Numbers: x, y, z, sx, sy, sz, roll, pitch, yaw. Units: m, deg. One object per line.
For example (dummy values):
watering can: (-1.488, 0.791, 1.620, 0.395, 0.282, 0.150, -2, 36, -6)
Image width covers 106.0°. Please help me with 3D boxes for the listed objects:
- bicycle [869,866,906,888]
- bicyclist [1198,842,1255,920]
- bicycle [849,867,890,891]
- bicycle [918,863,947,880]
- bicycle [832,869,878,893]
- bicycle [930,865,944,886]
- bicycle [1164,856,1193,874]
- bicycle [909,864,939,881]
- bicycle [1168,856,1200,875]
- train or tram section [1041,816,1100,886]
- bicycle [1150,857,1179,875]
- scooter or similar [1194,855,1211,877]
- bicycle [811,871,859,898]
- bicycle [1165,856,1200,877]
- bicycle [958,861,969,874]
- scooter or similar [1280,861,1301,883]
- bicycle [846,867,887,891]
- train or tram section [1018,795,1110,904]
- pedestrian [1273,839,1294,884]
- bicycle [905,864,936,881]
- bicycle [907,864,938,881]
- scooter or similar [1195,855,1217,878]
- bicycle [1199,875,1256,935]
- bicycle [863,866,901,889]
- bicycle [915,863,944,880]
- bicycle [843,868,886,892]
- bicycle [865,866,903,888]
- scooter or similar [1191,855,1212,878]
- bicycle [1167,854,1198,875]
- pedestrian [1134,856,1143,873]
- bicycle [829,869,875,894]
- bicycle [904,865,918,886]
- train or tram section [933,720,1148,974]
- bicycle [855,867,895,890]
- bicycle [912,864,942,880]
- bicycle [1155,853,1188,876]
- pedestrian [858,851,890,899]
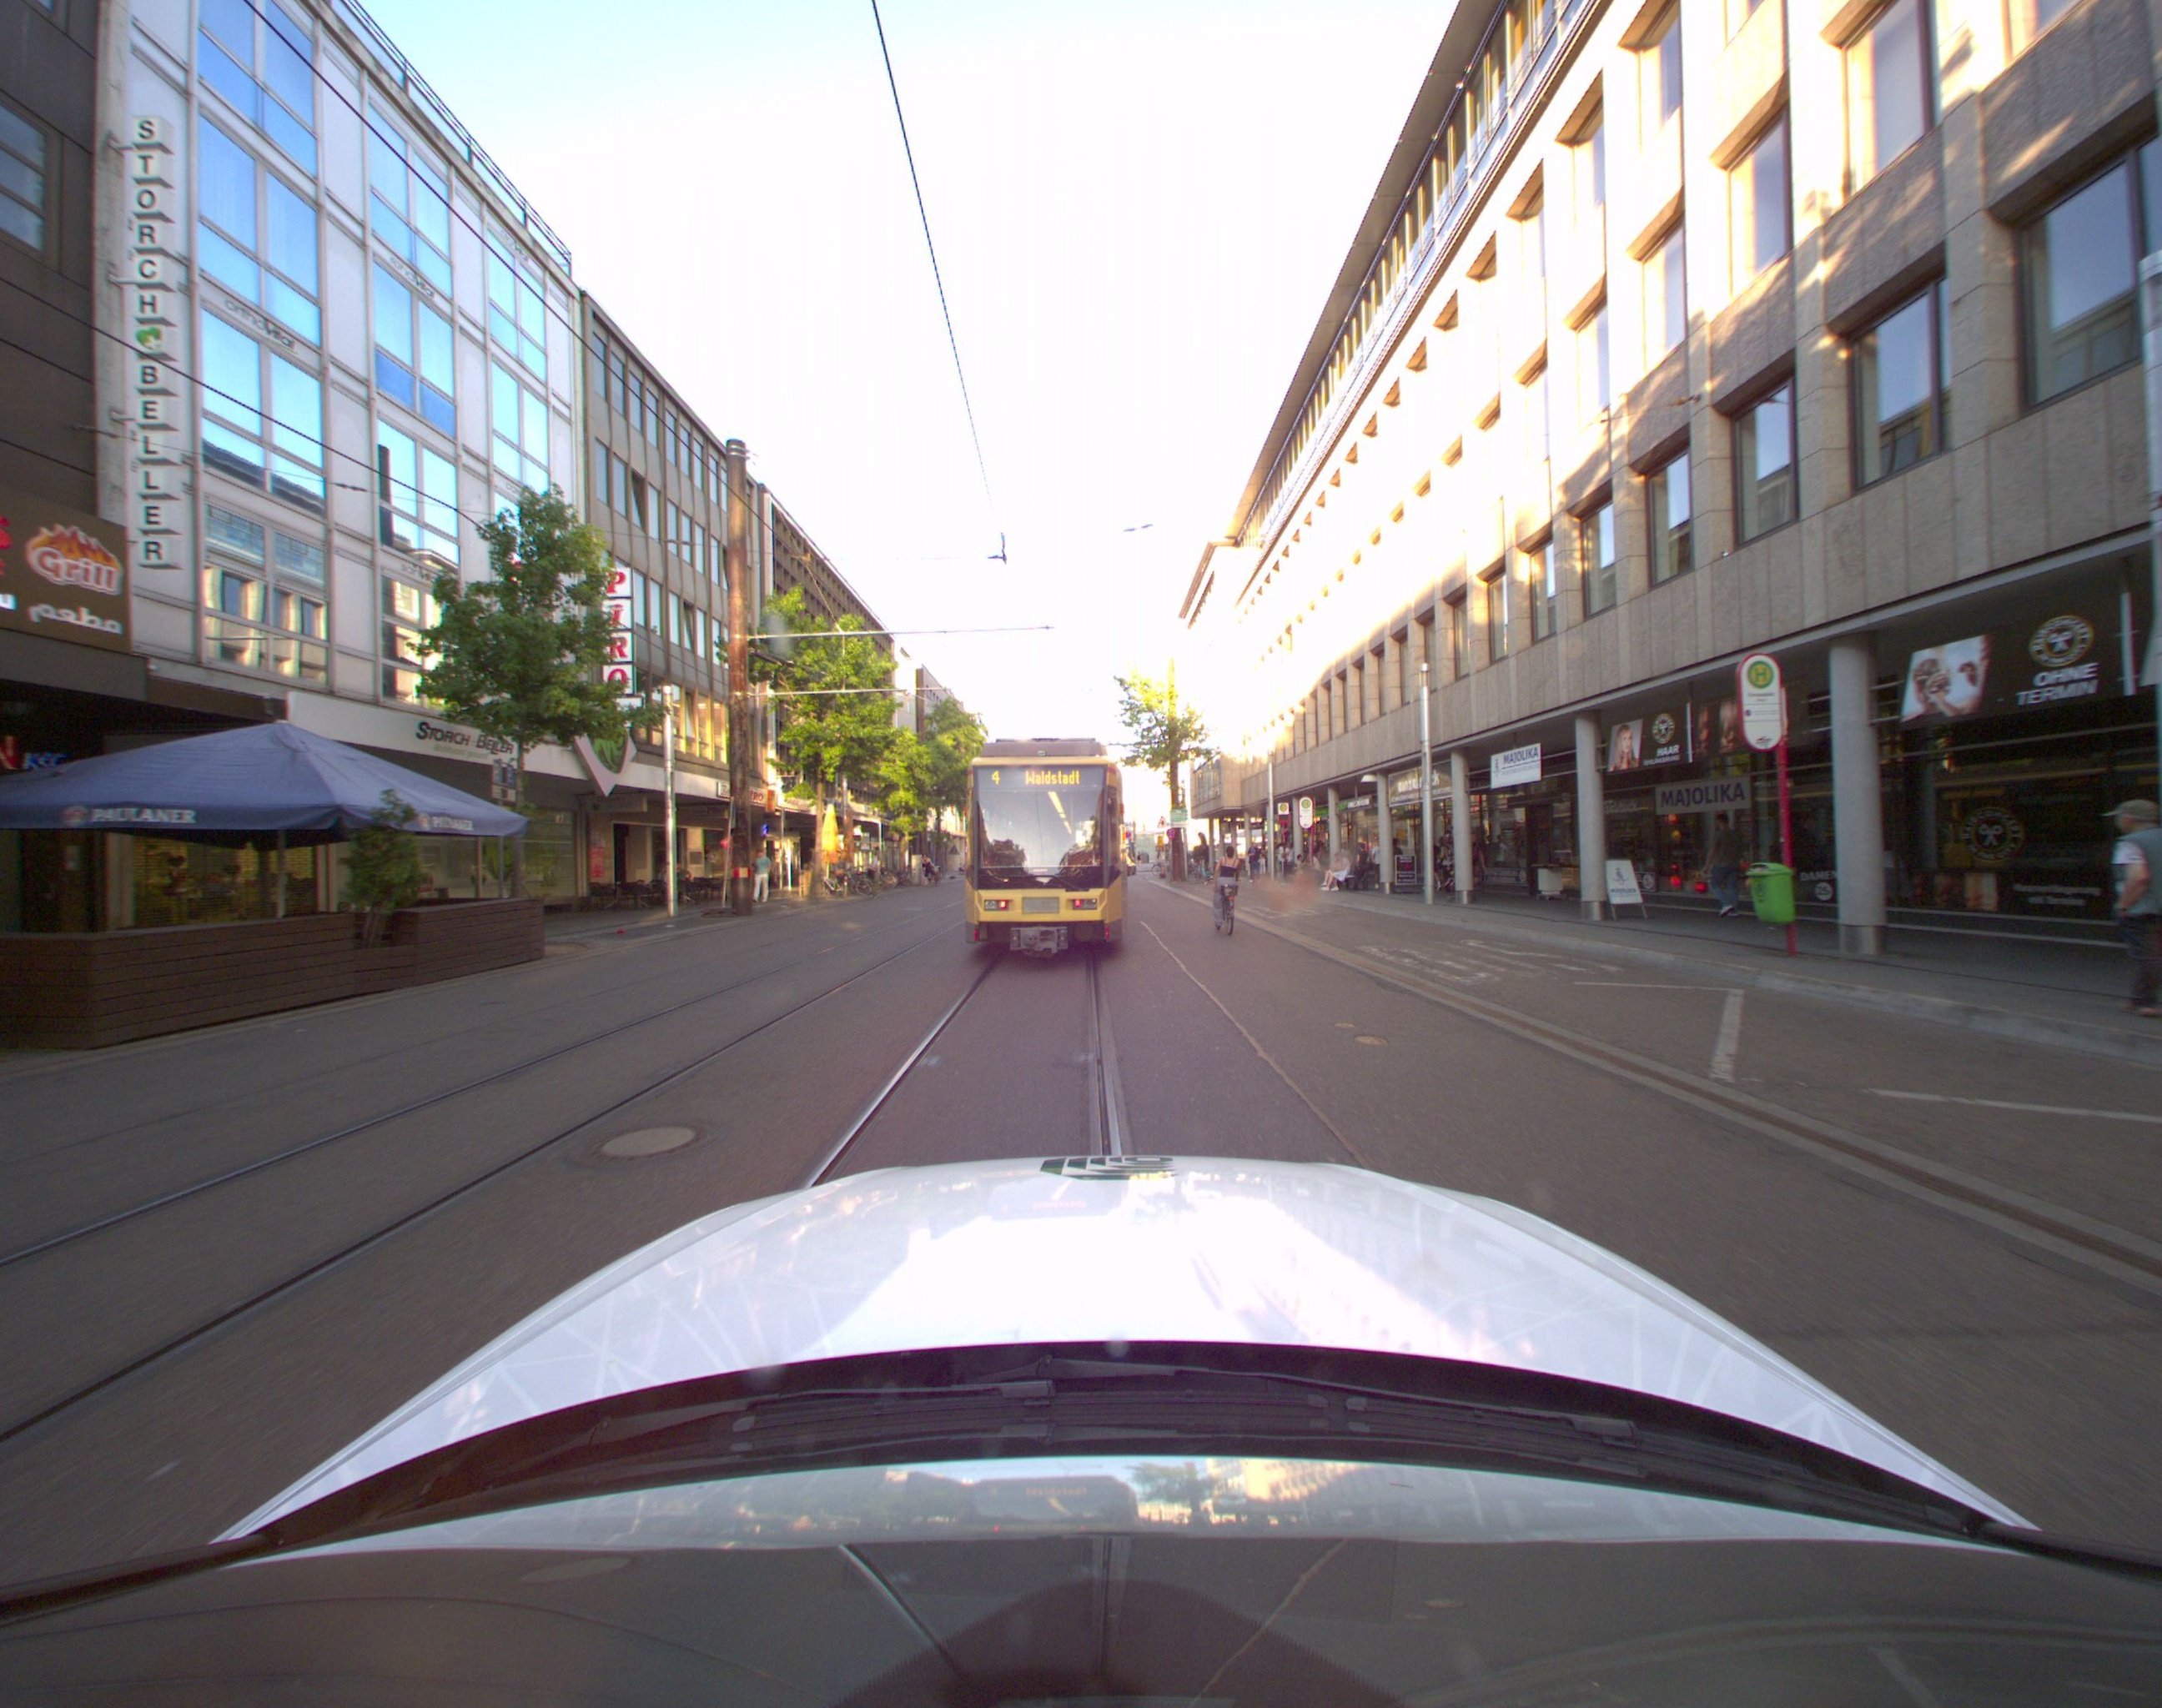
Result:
bicycle: (-9.836, 1.170, 41.397, 1.769, 1.071, 0.488, 1, 0, -6)
bicyclist: (2.894, 0.523, 16.227, 0.993, 1.502, 0.857, 0, 0, 0)
bicycle: (-9.799, 1.145, 37.739, 1.769, 1.071, 0.488, 1, 0, -6)
bicycle: (-9.674, 1.142, 52.971, 1.766, 1.045, 0.489, 0, 0, 0)
bicycle: (-9.461, 1.124, 34.140, 1.769, 0.990, 0.488, 0, 1, -6)
bicycle: (-7.773, 1.144, 44.019, 0.487, 1.045, 1.776, -1, 0, -2)
bicycle: (6.707, 0.760, 55.973, 1.848, 1.109, 0.666, -3, 0, -3)
bicycle: (-9.708, 1.125, 50.509, 1.766, 1.045, 0.489, 0, 0, 0)
bicycle: (6.769, 0.762, 53.553, 1.912, 1.077, 0.762, -4, 0, -5)
train or tram section: (-0.515, -0.163, 47.113, 2.791, 3.319, 14.505, -1, 0, 0)
bicycle: (5.698, 0.810, 55.788, 1.848, 1.109, 0.666, -3, 0, -3)
scooter or similar: (7.110, 0.689, 47.590, 0.388, 1.251, 1.199, -2, 0, 38)
bicycle: (-9.350, 1.140, 30.927, 1.758, 0.966, 0.491, 1, -1, 16)
bicycle: (6.291, 0.767, 50.685, 1.992, 1.155, 0.724, -4, 0, -5)
bicycle: (-10.720, 1.225, 74.227, 0.496, 1.107, 1.803, -1, 1, 5)
scooter or similar: (8.799, 0.748, 34.200, 0.827, 0.884, 0.689, 0, -1, 14)
bicycle: (-9.783, 1.141, 37.161, 1.769, 1.071, 0.488, 1, 0, -6)
train or tram section: (-0.520, -0.145, 32.617, 2.791, 3.319, 14.505, -1, 0, 0)
pedestrian: (8.379, 0.305, 33.657, 0.637, 1.839, 0.668, -2, -1, 1)
bicycle: (-9.722, 1.118, 49.435, 1.766, 1.045, 0.489, 0, 0, 0)
bicycle: (-9.714, 1.122, 49.937, 1.766, 1.045, 0.489, 0, 0, 0)
scooter or similar: (7.107, 0.707, 46.201, 1.119, 1.251, 0.492, -3, 0, -30)
bicycle: (2.896, 0.985, 16.315, 0.812, 1.073, 2.114, 0, 0, 1)
bicycle: (-9.799, 1.162, 40.199, 1.769, 1.071, 0.488, 1, 0, -6)
bicycle: (-9.714, 1.138, 52.390, 1.766, 1.045, 0.489, 0, 0, 0)
bicycle: (-9.444, 1.133, 35.552, 1.769, 0.990, 0.488, 0, 1, -6)
bicycle: (-9.850, 1.166, 40.744, 1.769, 1.071, 0.488, 1, 0, -6)
scooter or similar: (6.940, 0.703, 46.943, 1.195, 1.251, 0.389, -3, 0, -30)
bicycle: (6.775, 0.687, 54.300, 1.912, 1.222, 0.762, -4, 0, -5)
pedestrian: (6.263, 1.164, 89.377, 0.735, 1.823, 0.816, -1, 0, -14)
bicycle: (-9.456, 1.120, 33.612, 1.769, 0.990, 0.488, 0, 1, -6)
bicycle: (-9.140, 1.159, 43.823, 0.487, 1.045, 1.776, -1, 0, -2)
train or tram section: (-0.531, -0.114, 18.132, 2.791, 3.319, 14.505, -1, 0, 0)
bicycle: (-9.840, 1.154, 38.979, 1.769, 1.071, 0.488, 1, 0, -6)
bicycle: (-9.722, 1.131, 51.329, 1.766, 1.045, 0.489, 0, 0, 0)
bicycle: (5.737, 0.680, 51.495, 1.912, 1.333, 0.724, -4, 0, -5)
pedestrian: (-7.833, 0.780, 30.836, 0.827, 1.792, 0.979, -1, -1, -40)
